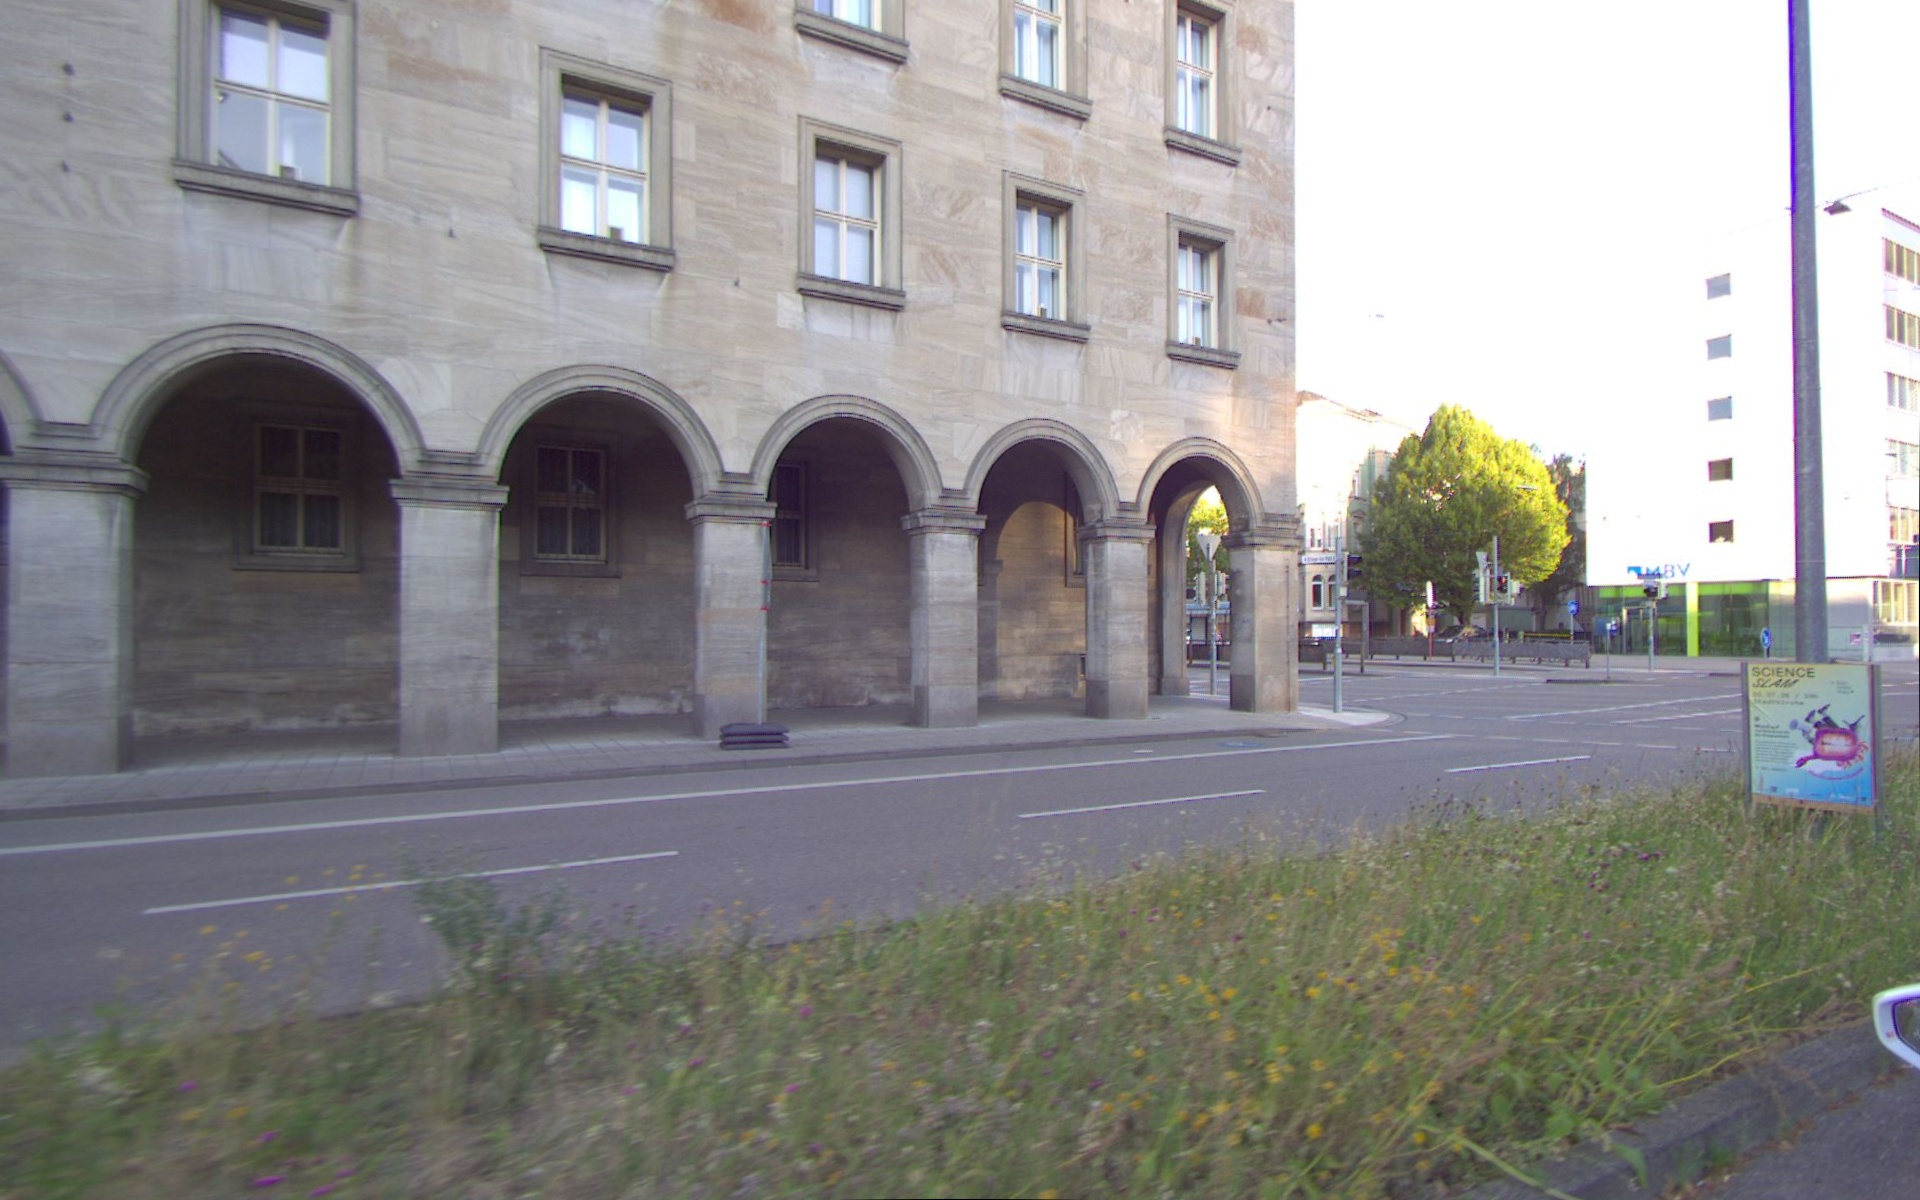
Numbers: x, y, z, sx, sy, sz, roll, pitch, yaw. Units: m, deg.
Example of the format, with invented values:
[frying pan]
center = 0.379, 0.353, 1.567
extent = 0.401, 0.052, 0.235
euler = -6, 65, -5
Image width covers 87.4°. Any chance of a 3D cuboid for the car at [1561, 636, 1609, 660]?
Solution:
[car]
center = 29.696, 2.271, 47.726
extent = 2.492, 1.088, 0.849
euler = 1, -2, -30
